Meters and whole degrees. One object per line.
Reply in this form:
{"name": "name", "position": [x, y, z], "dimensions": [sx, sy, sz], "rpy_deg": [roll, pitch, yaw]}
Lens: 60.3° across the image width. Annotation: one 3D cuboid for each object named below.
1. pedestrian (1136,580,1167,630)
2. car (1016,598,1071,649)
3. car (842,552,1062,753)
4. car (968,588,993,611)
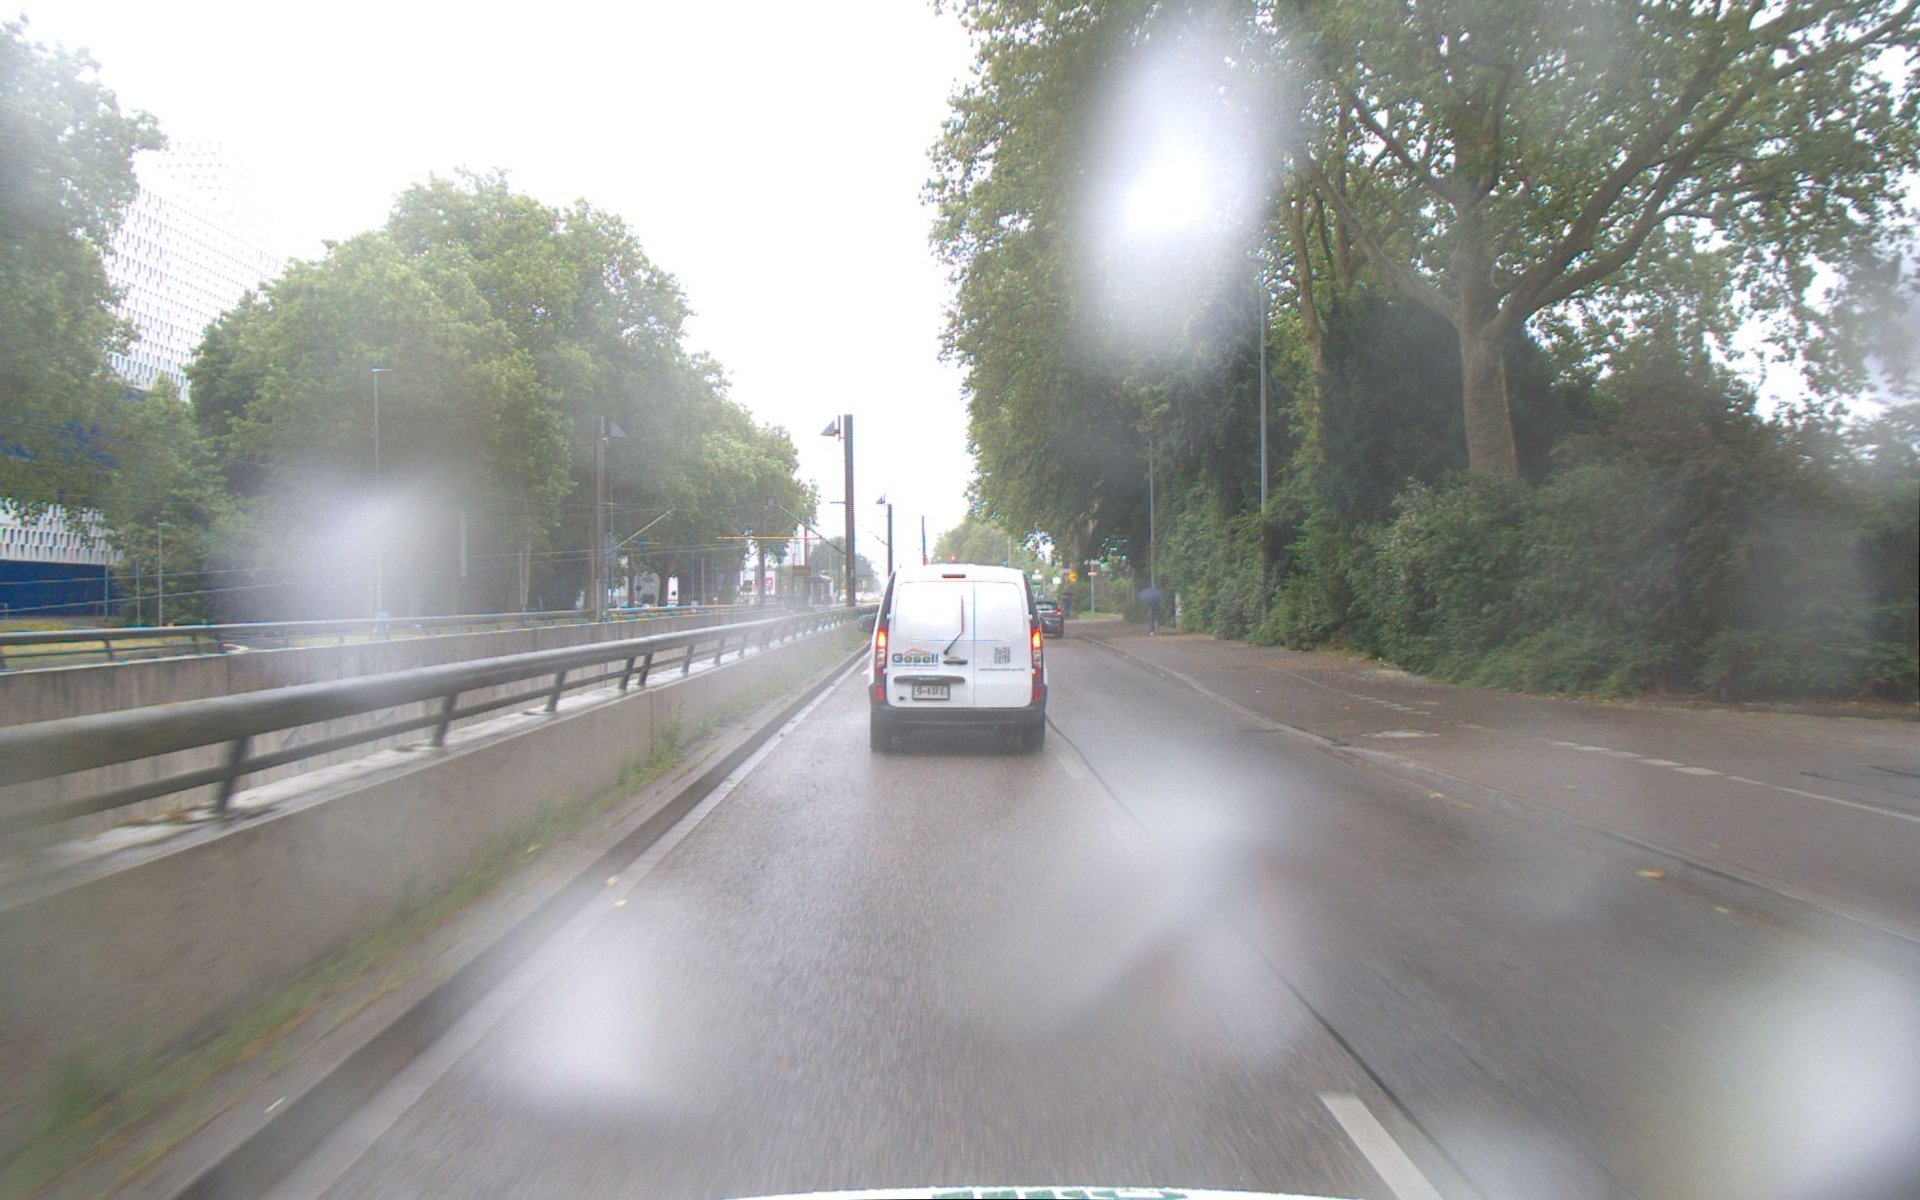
{"name": "pedestrian", "position": [6.643, 0.171, 57.451], "dimensions": [0.947, 1.732, 1.141], "rpy_deg": [1, 0, 0]}
{"name": "car", "position": [3.094, 0.851, 61.709], "dimensions": [1.952, 1.780, 4.001], "rpy_deg": [1, 0, 2]}
{"name": "car", "position": [-0.112, 0.483, 17.301], "dimensions": [1.984, 1.806, 4.273], "rpy_deg": [1, 0, -1]}
{"name": "car", "position": [1.649, -0.047, 131.859], "dimensions": [1.952, 1.780, 4.000], "rpy_deg": [1, 0, 1]}
